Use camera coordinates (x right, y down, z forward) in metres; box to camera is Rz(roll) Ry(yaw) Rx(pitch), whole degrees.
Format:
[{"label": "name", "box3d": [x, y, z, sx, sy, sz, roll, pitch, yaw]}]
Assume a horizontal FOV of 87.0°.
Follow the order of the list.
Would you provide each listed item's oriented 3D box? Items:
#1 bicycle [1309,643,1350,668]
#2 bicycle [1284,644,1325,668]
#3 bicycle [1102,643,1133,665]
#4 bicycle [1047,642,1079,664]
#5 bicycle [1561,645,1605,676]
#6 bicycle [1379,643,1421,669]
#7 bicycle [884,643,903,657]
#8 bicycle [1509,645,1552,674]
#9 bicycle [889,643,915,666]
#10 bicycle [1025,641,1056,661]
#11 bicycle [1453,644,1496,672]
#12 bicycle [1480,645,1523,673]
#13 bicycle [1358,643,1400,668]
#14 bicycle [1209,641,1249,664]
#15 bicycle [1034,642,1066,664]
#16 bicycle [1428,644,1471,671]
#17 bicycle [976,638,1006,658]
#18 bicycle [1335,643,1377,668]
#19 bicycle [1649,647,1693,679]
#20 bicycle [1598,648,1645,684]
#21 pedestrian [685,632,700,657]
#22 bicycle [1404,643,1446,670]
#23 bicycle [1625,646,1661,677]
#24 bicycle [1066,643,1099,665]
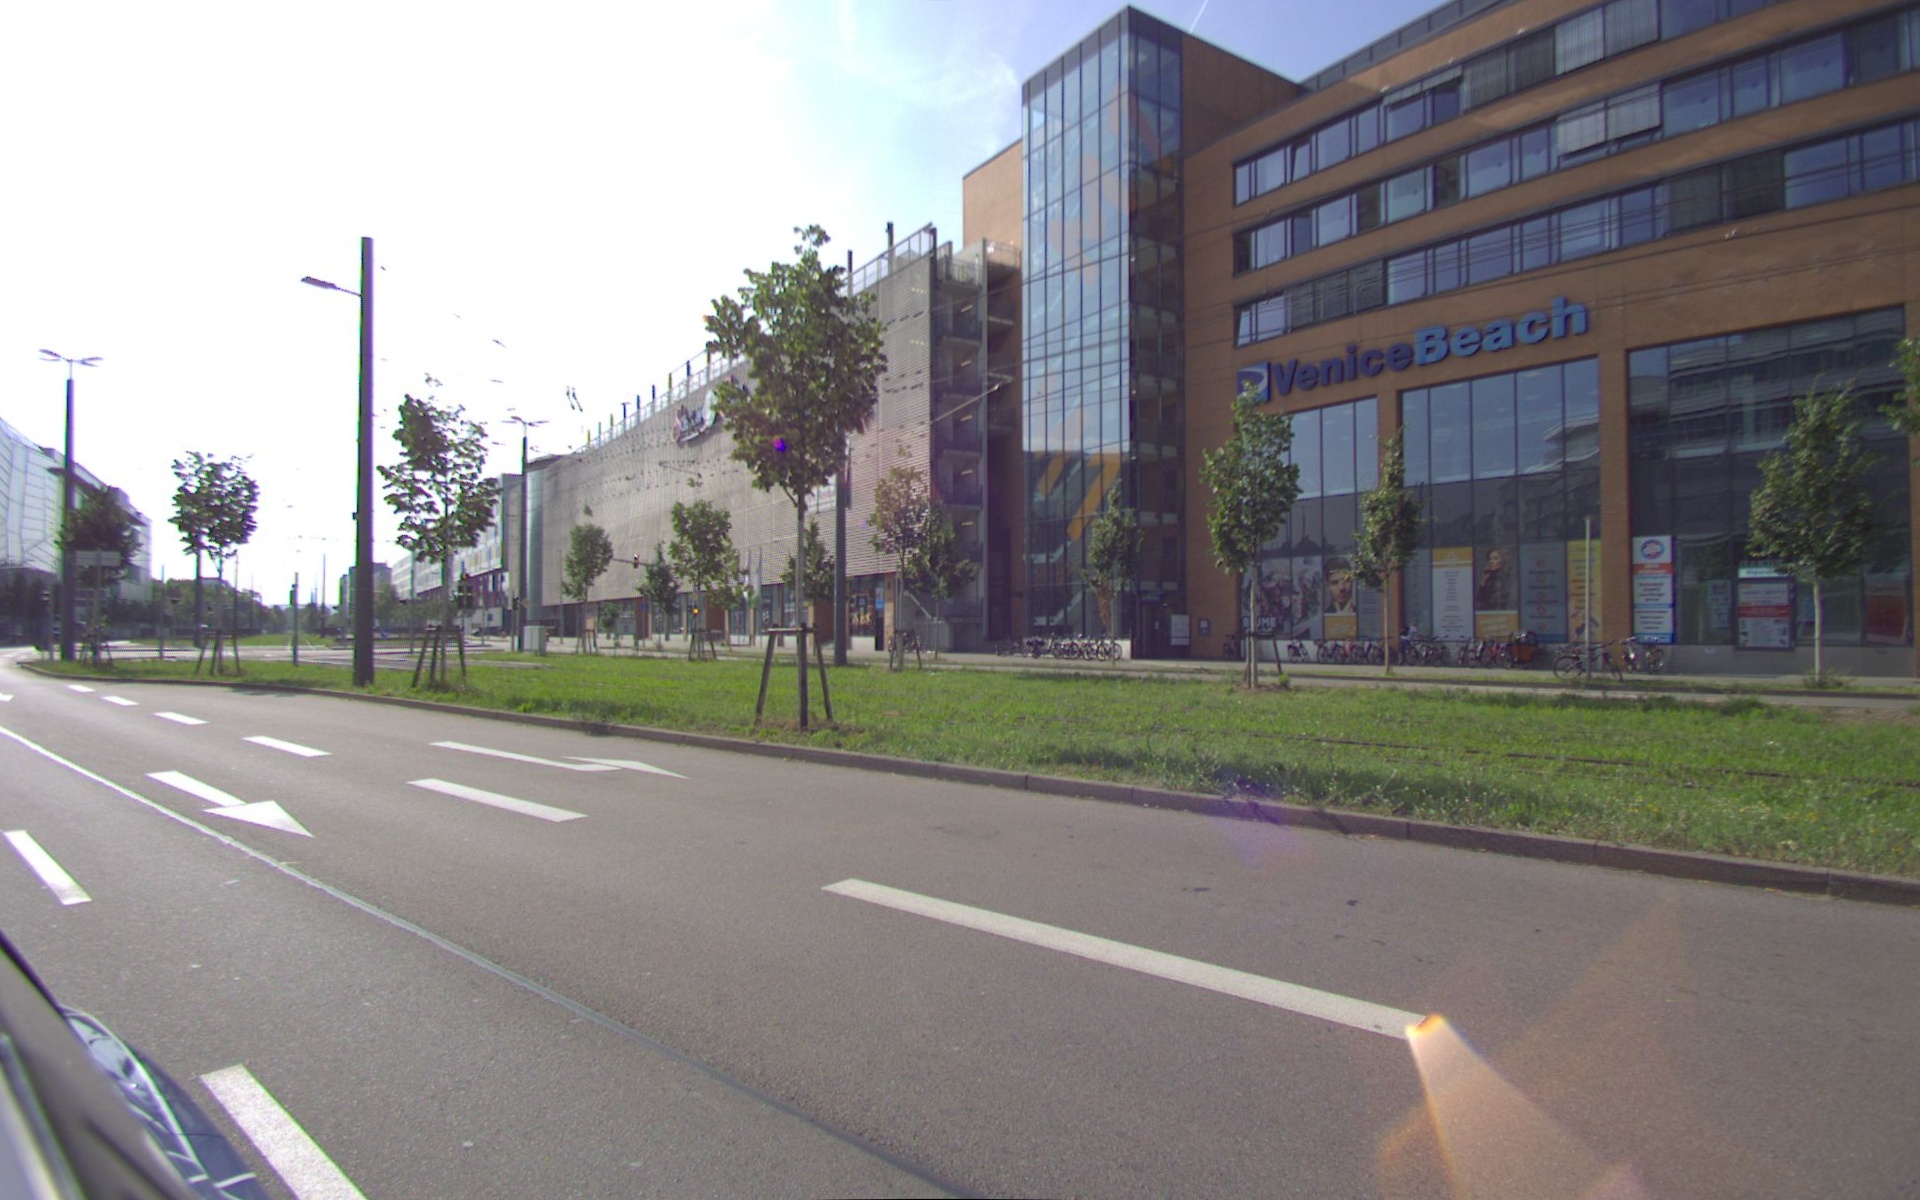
[{"label": "bicycle", "box3d": [14.537, 2.166, 39.823, 2.022, 0.928, 0.574, 1, -2, -40]}, {"label": "bicycle", "box3d": [13.841, 2.234, 40.602, 2.022, 0.928, 0.574, 1, -2, -40]}, {"label": "bicycle", "box3d": [6.988, 2.371, 44.902, 1.559, 0.947, 0.412, 1, -2, -40]}, {"label": "bicycle", "box3d": [4.662, 2.405, 45.867, 1.558, 0.947, 0.412, 1, -2, -35]}, {"label": "bicycle", "box3d": [20.341, 1.957, 33.019, 2.022, 0.928, 0.574, 1, -2, -40]}, {"label": "bicycle", "box3d": [16.406, 2.068, 37.691, 2.022, 0.928, 0.574, 1, -2, -40]}, {"label": "bicycle", "box3d": [-3.745, 2.839, 57.110, 0.989, 0.758, 0.453, 1, -2, -33]}, {"label": "bicycle", "box3d": [19.395, 2.006, 34.410, 2.022, 0.928, 0.574, 1, -2, -40]}, {"label": "bicycle", "box3d": [-2.795, 2.615, 48.812, 0.438, 0.995, 2.171, 1, -1, -25]}, {"label": "bicycle", "box3d": [3.812, 2.402, 47.912, 1.558, 0.947, 0.474, 1, -2, -35]}, {"label": "bicycle", "box3d": [18.161, 2.034, 35.714, 2.022, 0.928, 0.574, 1, -2, -40]}, {"label": "bicycle", "box3d": [18.781, 2.031, 35.072, 2.022, 0.928, 0.574, 1, -2, -40]}, {"label": "bicycle", "box3d": [15.866, 2.092, 38.338, 2.022, 0.928, 0.574, 1, -2, -40]}, {"label": "bicycle", "box3d": [11.558, 2.240, 43.493, 2.022, 0.928, 0.574, 1, -2, -40]}, {"label": "bicycle", "box3d": [4.142, 2.417, 46.443, 1.558, 0.947, 0.412, 1, -2, -35]}, {"label": "bicycle", "box3d": [17.600, 2.046, 36.368, 2.022, 0.928, 0.574, 1, -2, -40]}, {"label": "bicycle", "box3d": [1.533, 2.366, 50.081, 1.558, 0.947, 0.412, 1, -2, -35]}, {"label": "bicycle", "box3d": [15.265, 2.119, 38.972, 2.022, 0.928, 0.574, 1, -2, -40]}, {"label": "bicycle", "box3d": [21.996, 1.932, 31.301, 2.022, 0.928, 0.574, 1, -2, -40]}, {"label": "bicycle", "box3d": [18.323, 1.815, 28.010, 1.655, 0.914, 0.710, 1, -2, -43]}, {"label": "pedestrian", "box3d": [-16.976, 2.839, 64.218, 0.751, 1.591, 0.591, 1, -3, -38]}, {"label": "bicycle", "box3d": [16.993, 2.047, 36.983, 2.022, 0.928, 0.574, 1, -2, -40]}, {"label": "bicycle", "box3d": [21.497, 1.932, 31.845, 2.022, 0.928, 0.381, 1, -2, -40]}, {"label": "bicycle", "box3d": [5.397, 2.379, 44.639, 1.558, 0.947, 0.412, 1, -2, -35]}]
